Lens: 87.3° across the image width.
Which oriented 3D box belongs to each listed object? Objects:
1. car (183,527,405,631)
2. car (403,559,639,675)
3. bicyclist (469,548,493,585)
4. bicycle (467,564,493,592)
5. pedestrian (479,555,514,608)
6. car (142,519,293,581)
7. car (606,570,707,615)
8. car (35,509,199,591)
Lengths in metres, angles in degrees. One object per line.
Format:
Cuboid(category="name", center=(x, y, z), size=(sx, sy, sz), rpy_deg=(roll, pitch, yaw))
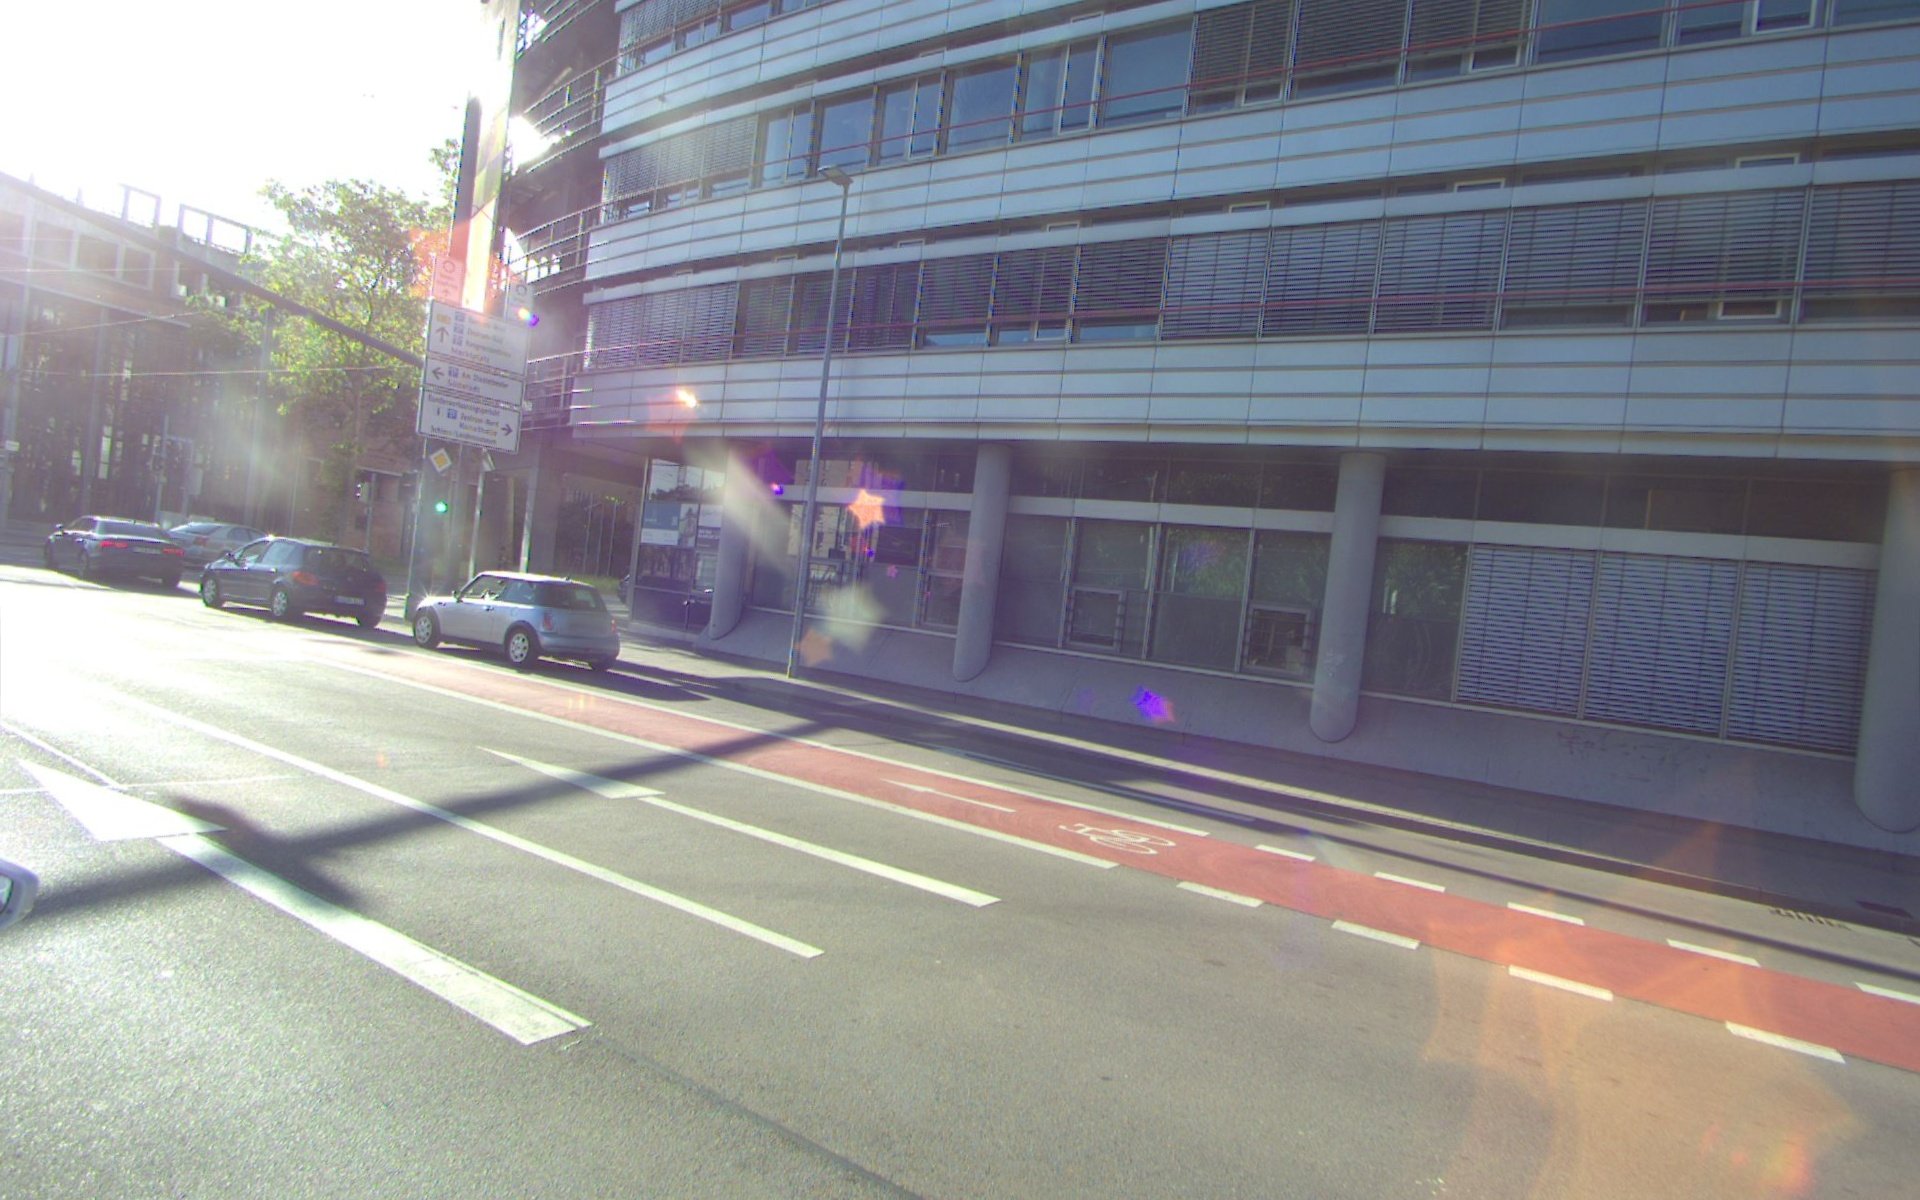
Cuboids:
Cuboid(category="car", center=(-12.709, -0.409, 19.167), size=(3.910, 1.493, 1.864), rpy_deg=(7, 0, 30))
Cuboid(category="car", center=(-7.103, 0.265, 16.216), size=(3.477, 1.405, 1.664), rpy_deg=(6, -1, 31))
Cuboid(category="bicyclist", center=(-19.718, -1.400, 41.424), size=(0.657, 1.425, 0.811), rpy_deg=(7, 1, -20))
Cuboid(category="bicycle", center=(-19.849, -0.920, 41.623), size=(0.657, 1.031, 2.174), rpy_deg=(8, 1, -20))
Cuboid(category="pedestrian", center=(-16.520, -0.651, 35.854), size=(0.578, 1.754, 0.790), rpy_deg=(6, -1, 39))
Cuboid(category="car", center=(-22.951, -1.499, 31.291), size=(1.669, 1.493, 3.981), rpy_deg=(7, -1, -2))
Cuboid(category="car", center=(-13.476, -0.306, 44.811), size=(1.837, 1.492, 3.968), rpy_deg=(7, -1, 33))
Cuboid(category="car", center=(-19.475, -1.168, 23.214), size=(3.953, 1.457, 1.697), rpy_deg=(6, -1, 32))
